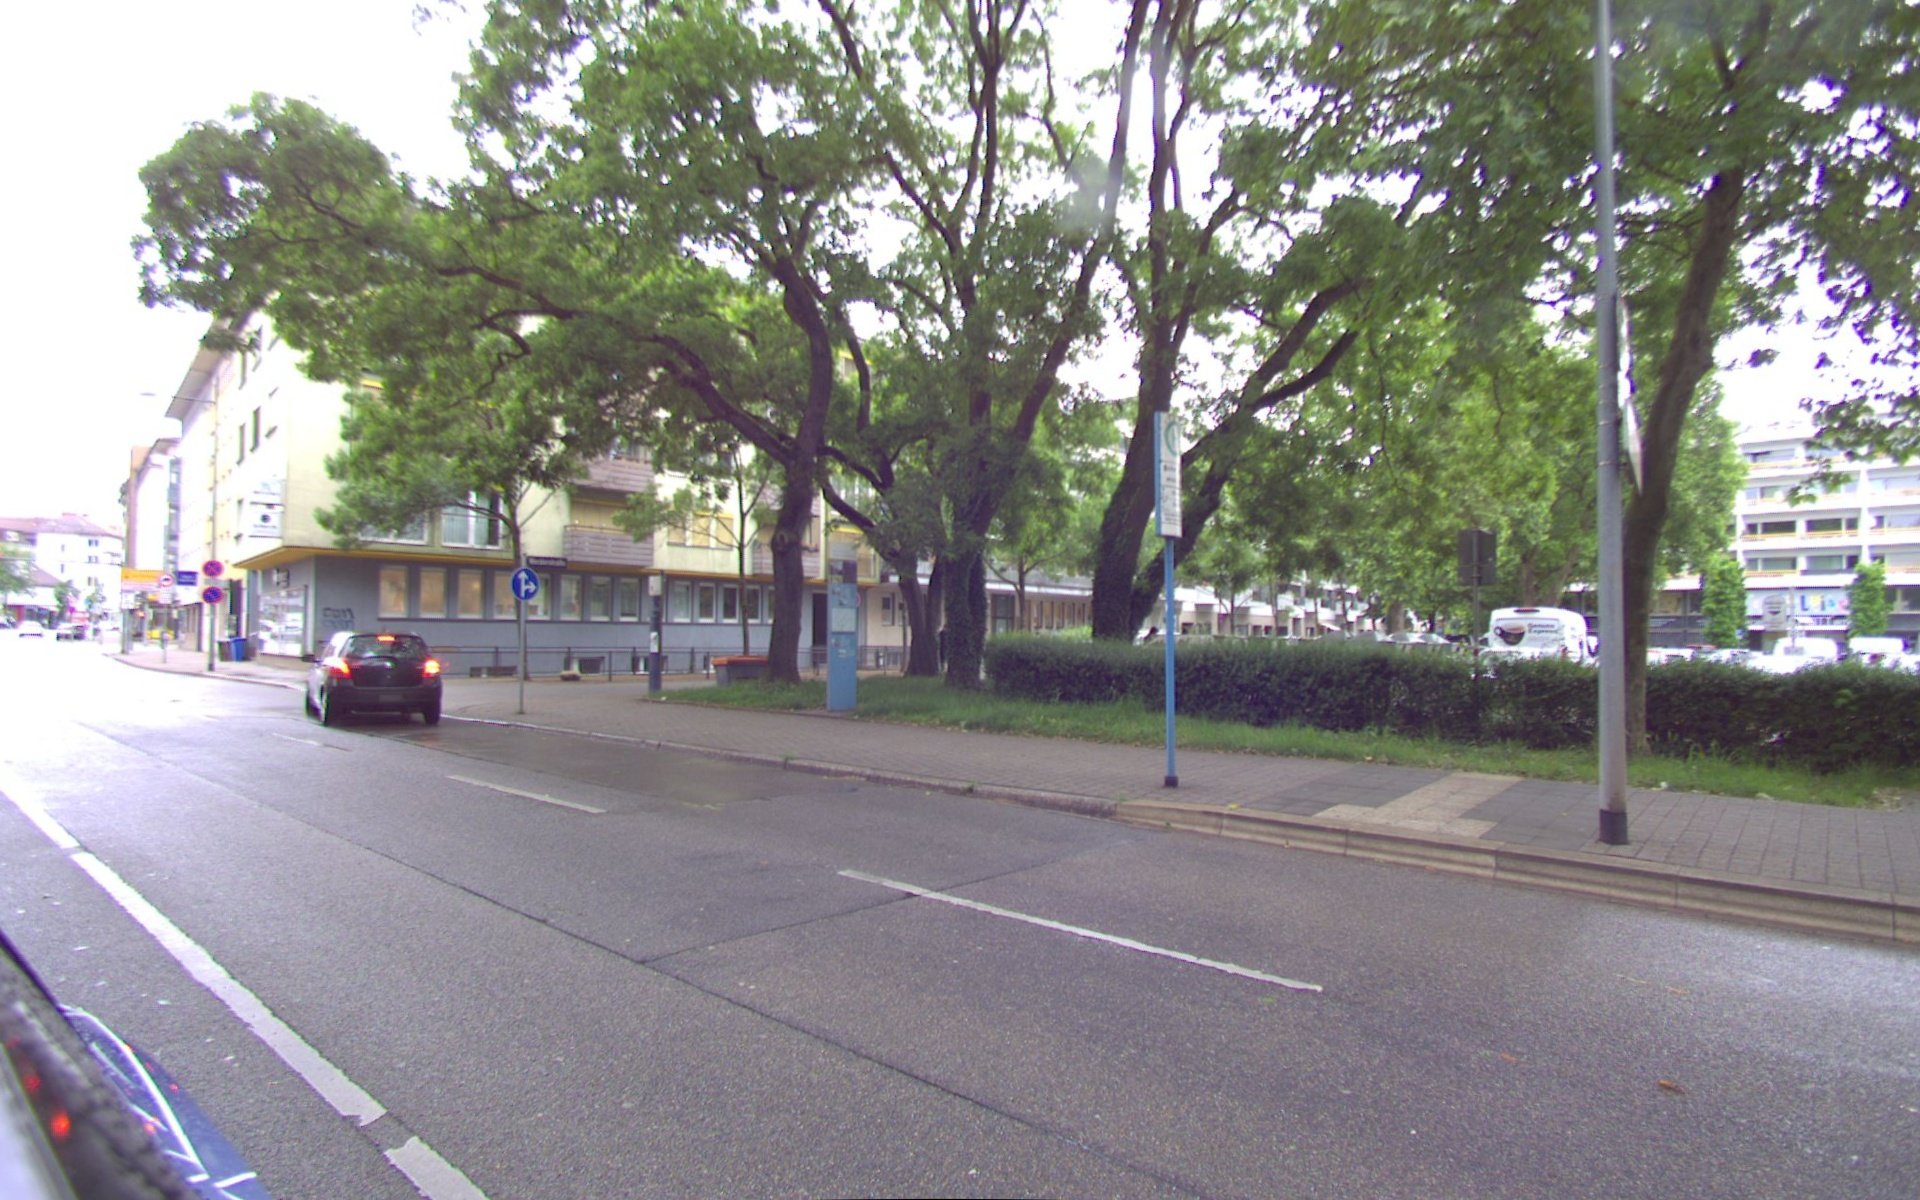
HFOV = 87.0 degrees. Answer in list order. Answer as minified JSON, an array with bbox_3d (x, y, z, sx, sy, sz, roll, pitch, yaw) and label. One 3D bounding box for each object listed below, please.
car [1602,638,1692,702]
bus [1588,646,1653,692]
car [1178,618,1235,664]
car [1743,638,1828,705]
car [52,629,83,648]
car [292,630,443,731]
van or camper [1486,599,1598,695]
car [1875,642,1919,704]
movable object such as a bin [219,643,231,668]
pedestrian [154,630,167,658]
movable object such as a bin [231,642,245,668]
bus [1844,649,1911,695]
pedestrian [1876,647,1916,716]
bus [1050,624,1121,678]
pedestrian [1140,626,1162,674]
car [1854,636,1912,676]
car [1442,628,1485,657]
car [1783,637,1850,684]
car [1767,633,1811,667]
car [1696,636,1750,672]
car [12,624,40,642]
[{"bbox_3d":[16.736,1.673,24.608,1.391,1.446,3.227,-2,-4,41],"label":"car"},{"bbox_3d":[24.157,2.490,36.958,1.604,1.551,3.385,-1,-3,40],"label":"bus"},{"bbox_3d":[11.677,1.955,47.774,1.988,2.029,3.967,0,-3,24],"label":"car"},{"bbox_3d":[19.241,1.640,23.554,1.391,1.446,3.227,-2,-4,41],"label":"car"},{"bbox_3d":[-82.178,3.569,93.180,4.002,1.730,1.863,-2,-4,45],"label":"car"},{"bbox_3d":[-10.002,1.287,16.984,1.547,1.500,3.573,4,-4,-40],"label":"car"},{"bbox_3d":[16.849,1.345,29.199,2.097,2.556,4.367,-1,-3,40],"label":"van or camper"},{"bbox_3d":[23.419,1.771,24.796,1.391,1.446,3.227,-2,-4,41],"label":"car"},{"bbox_3d":[-30.351,2.280,41.779,0.333,1.037,0.354,3,-4,-42],"label":"movable object such as a bin"},{"bbox_3d":[-54.138,2.965,68.554,0.586,1.858,0.565,3,-4,-42],"label":"pedestrian"},{"bbox_3d":[-29.840,2.271,41.828,0.409,1.037,0.354,3,-4,-42],"label":"movable object such as a bin"},{"bbox_3d":[33.158,2.572,36.643,1.604,1.551,3.385,-1,-3,40],"label":"bus"},{"bbox_3d":[17.198,1.488,18.607,0.465,1.222,0.433,-1,0,34],"label":"pedestrian"},{"bbox_3d":[4.838,1.953,38.671,1.703,1.939,3.697,0,-3,24],"label":"bus"},{"bbox_3d":[5.015,1.302,26.594,0.482,1.222,0.435,-1,0,20],"label":"pedestrian"},{"bbox_3d":[40.413,2.421,44.366,1.639,1.536,3.161,-1,0,38],"label":"car"},{"bbox_3d":[27.186,2.289,54.571,1.428,1.439,2.926,-2,-1,40],"label":"car"},{"bbox_3d":[28.175,1.961,33.337,1.604,1.439,3.275,-1,-3,40],"label":"car"},{"bbox_3d":[41.985,2.500,51.287,1.639,1.536,3.161,-1,0,38],"label":"car"},{"bbox_3d":[35.720,2.483,47.349,1.837,1.435,3.780,-1,0,39],"label":"car"},{"bbox_3d":[-92.883,3.282,100.601,4.002,1.670,1.842,-2,-4,45],"label":"car"}]
